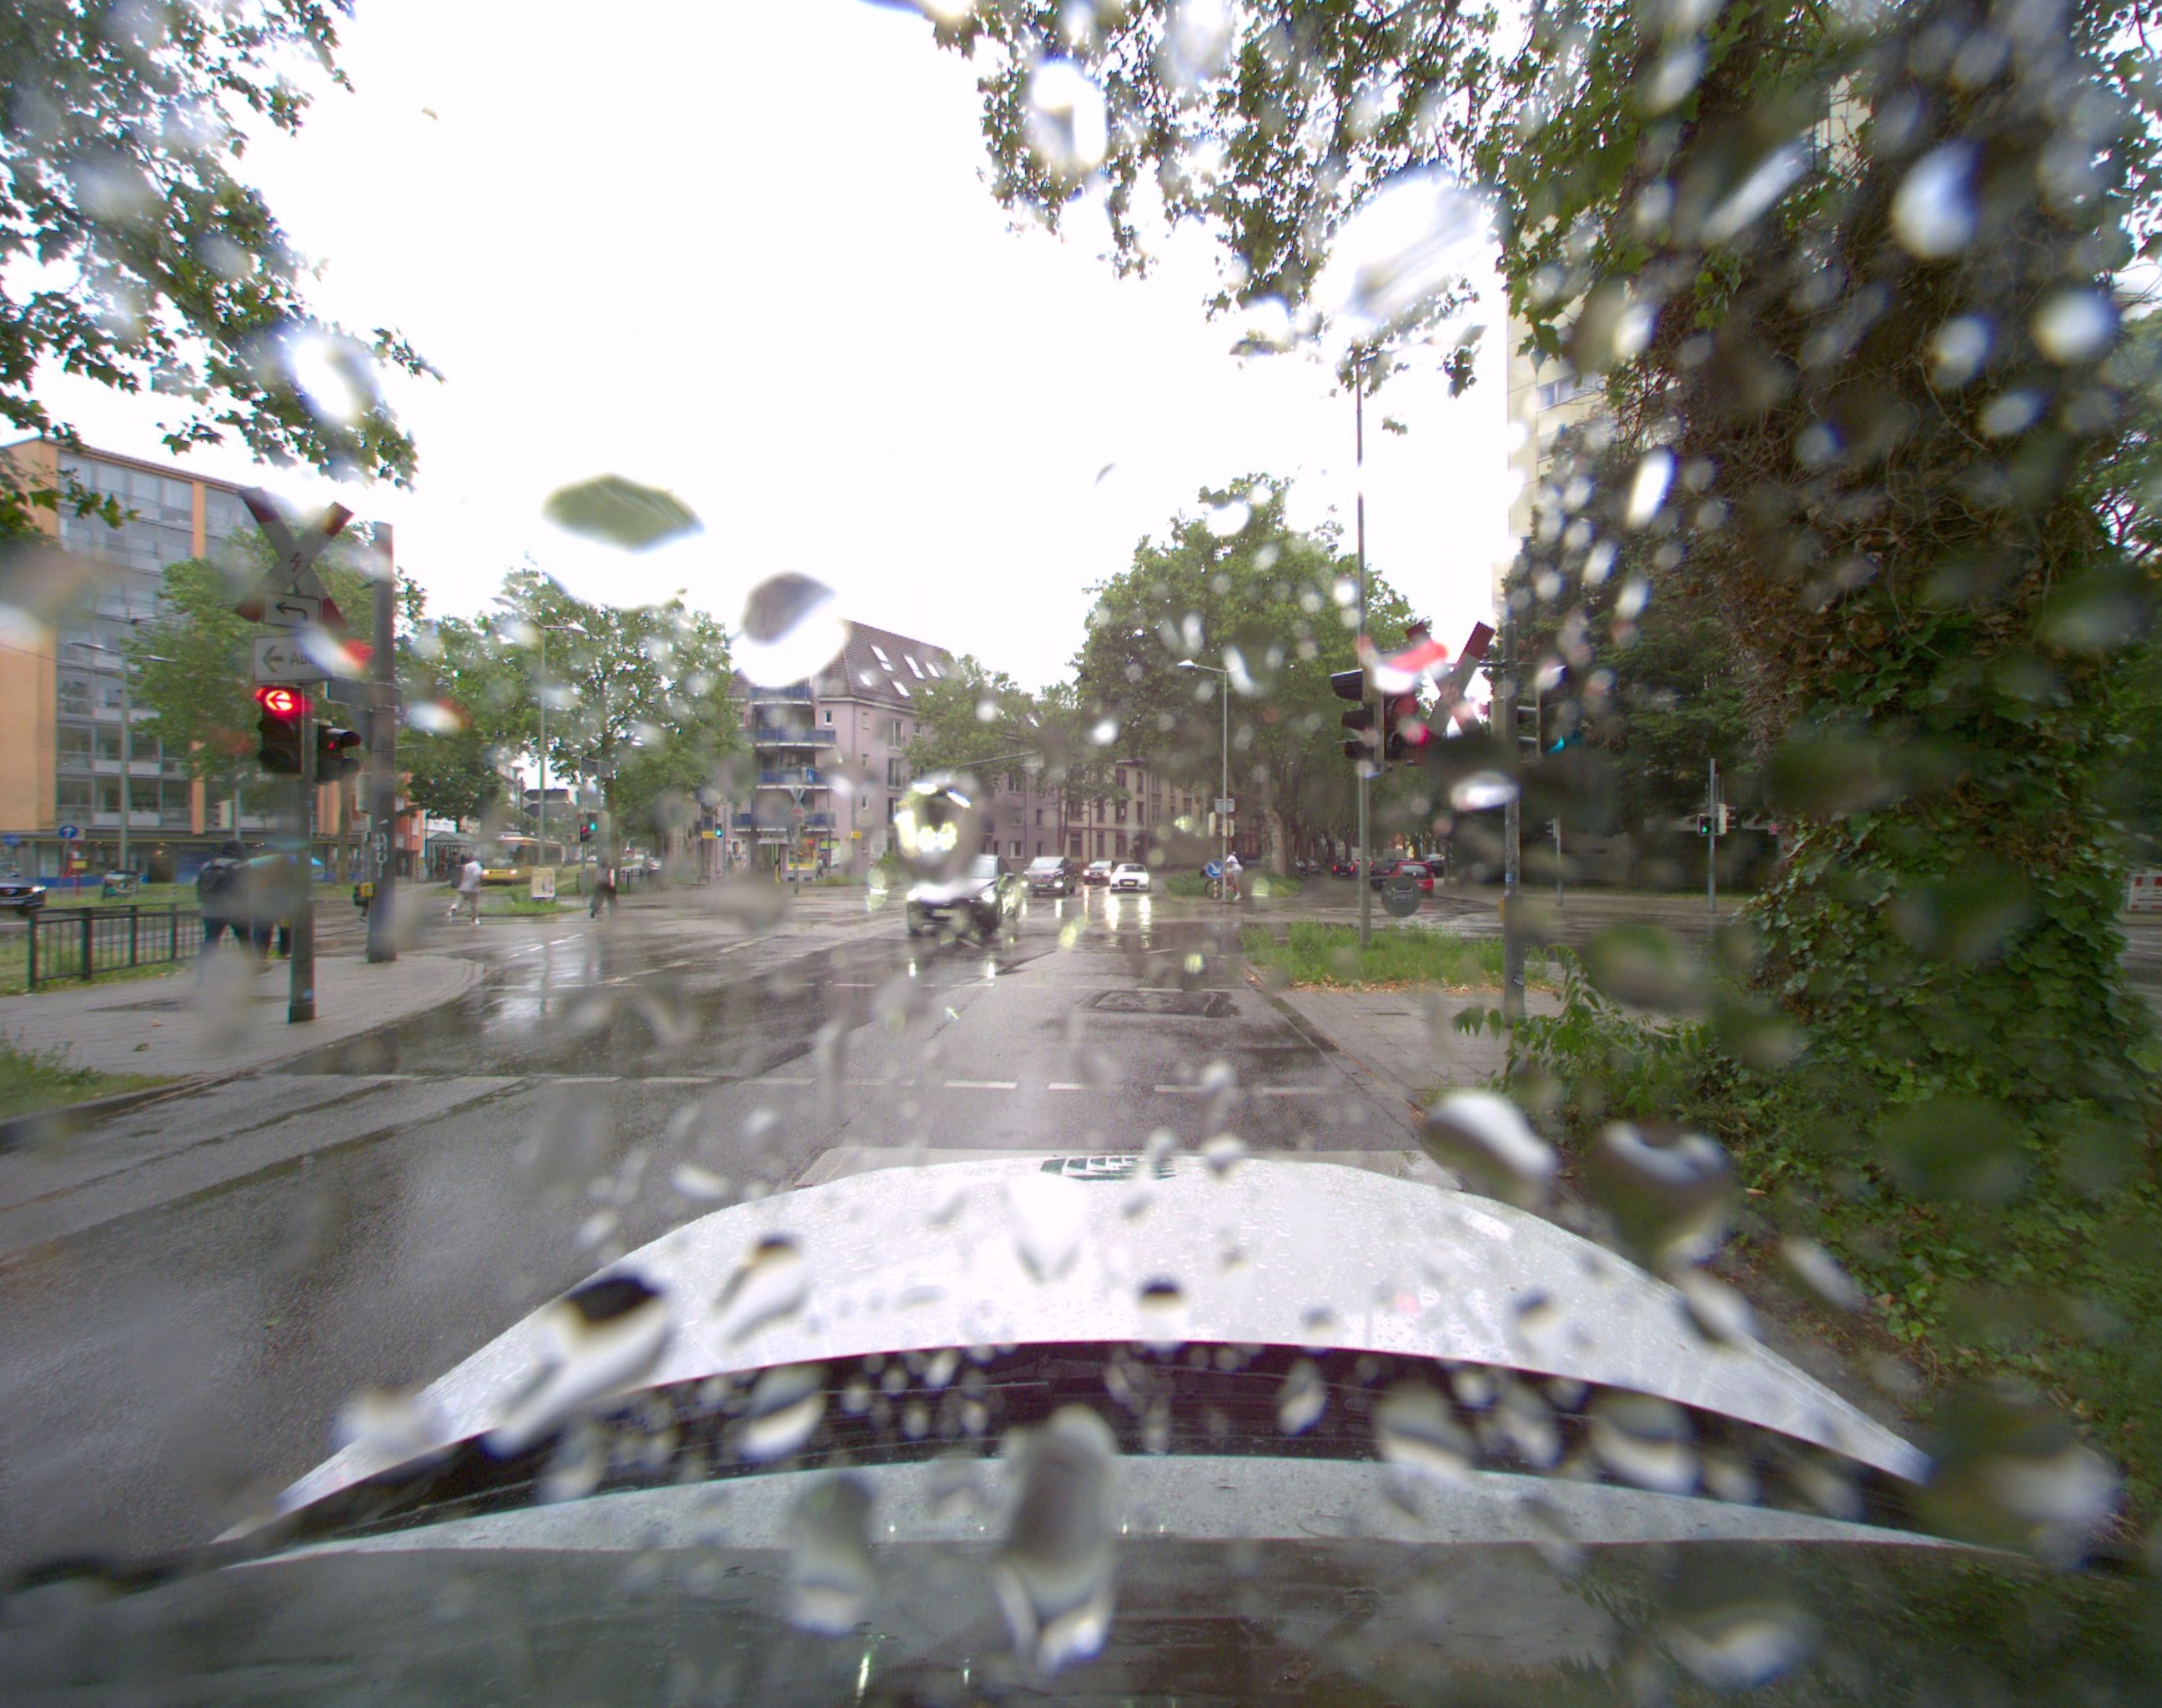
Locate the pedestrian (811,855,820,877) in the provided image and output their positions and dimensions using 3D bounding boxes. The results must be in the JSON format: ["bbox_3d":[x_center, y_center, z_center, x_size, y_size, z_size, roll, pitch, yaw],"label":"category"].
[{"bbox_3d":[-17.256,0.789,52.901,0.444,1.457,0.560,0,-1,-8],"label":"pedestrian"}]

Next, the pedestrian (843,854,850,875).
[{"bbox_3d":[-15.260,0.692,53.067,0.445,1.329,0.558,0,-1,-16],"label":"pedestrian"}]

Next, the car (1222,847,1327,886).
[{"bbox_3d":[7.749,0.518,32.657,3.958,1.486,2.008,-1,-1,14],"label":"car"}]

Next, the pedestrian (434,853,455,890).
[{"bbox_3d":[-38.254,1.039,48.958,0.889,2.151,0.902,0,-1,-30],"label":"pedestrian"}]

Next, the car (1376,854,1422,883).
[{"bbox_3d":[15.890,0.696,40.865,1.770,1.348,3.945,0,1,16],"label":"car"}]

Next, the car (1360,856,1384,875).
[{"bbox_3d":[26.091,1.023,72.982,1.759,1.678,4.022,-1,-1,23],"label":"car"}]

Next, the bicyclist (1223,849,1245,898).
[{"bbox_3d":[5.686,0.714,30.361,0.790,1.786,0.699,-1,-1,9],"label":"bicyclist"}]

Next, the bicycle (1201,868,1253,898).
[{"bbox_3d":[5.439,1.069,30.395,1.862,1.081,0.658,-1,-1,9],"label":"bicycle"}]

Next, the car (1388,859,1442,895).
[{"bbox_3d":[14.822,0.981,36.329,1.778,1.498,4.017,0,0,16],"label":"car"}]

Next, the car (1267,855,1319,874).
[{"bbox_3d":[16.923,0.818,65.193,3.958,1.486,2.008,-1,-1,14],"label":"car"}]

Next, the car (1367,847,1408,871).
[{"bbox_3d":[38.978,0.641,103.565,2.006,2.948,4.726,0,-1,-29],"label":"car"}]

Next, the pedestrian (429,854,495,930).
[{"bbox_3d":[-13.595,0.817,17.922,0.671,1.600,0.968,0,1,2],"label":"pedestrian"}]

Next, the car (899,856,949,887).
[{"bbox_3d":[-8.012,0.853,41.834,1.745,1.512,3.839,0,0,1],"label":"car"}]

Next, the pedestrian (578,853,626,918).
[{"bbox_3d":[-11.527,0.753,19.626,0.749,1.533,0.789,0,-1,-9],"label":"pedestrian"}]

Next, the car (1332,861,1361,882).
[{"bbox_3d":[19.336,1.233,59.176,1.666,1.474,3.683,-1,-1,23],"label":"car"}]

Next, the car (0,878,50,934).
[{"bbox_3d":[-32.263,1.486,23.399,3.994,1.530,1.615,0,1,12],"label":"car"}]

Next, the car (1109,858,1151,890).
[{"bbox_3d":[2.381,0.935,39.245,1.876,1.436,4.004,0,0,4],"label":"car"}]

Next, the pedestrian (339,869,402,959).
[{"bbox_3d":[-11.583,0.945,13.299,0.653,1.396,0.774,0,0,-33],"label":"pedestrian"}]

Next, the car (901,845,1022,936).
[{"bbox_3d":[-2.248,0.634,16.408,1.745,1.591,4.235,0,0,1],"label":"car"}]

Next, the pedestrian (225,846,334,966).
[{"bbox_3d":[-12.427,0.775,12.671,0.962,1.766,0.944,0,-1,-28],"label":"pedestrian"}]

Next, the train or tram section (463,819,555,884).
[{"bbox_3d":[-38.665,-0.072,55.714,2.897,3.768,17.089,0,-1,-28],"label":"train or tram section"}]

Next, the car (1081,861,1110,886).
[{"bbox_3d":[0.883,1.157,50.237,1.708,1.459,3.748,0,-1,1],"label":"car"}]

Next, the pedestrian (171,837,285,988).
[{"bbox_3d":[-10.935,0.715,10.472,0.791,1.855,0.676,0,0,-22],"label":"pedestrian"}]

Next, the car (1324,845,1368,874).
[{"bbox_3d":[28.313,0.588,87.213,2.040,2.948,4.742,0,-1,-18],"label":"car"}]

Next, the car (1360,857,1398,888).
[{"bbox_3d":[17.400,1.065,47.703,1.769,1.727,4.017,-1,-1,16],"label":"car"}]

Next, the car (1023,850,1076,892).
[{"bbox_3d":[-1.282,0.701,35.023,1.795,1.682,4.608,0,0,4],"label":"car"}]
